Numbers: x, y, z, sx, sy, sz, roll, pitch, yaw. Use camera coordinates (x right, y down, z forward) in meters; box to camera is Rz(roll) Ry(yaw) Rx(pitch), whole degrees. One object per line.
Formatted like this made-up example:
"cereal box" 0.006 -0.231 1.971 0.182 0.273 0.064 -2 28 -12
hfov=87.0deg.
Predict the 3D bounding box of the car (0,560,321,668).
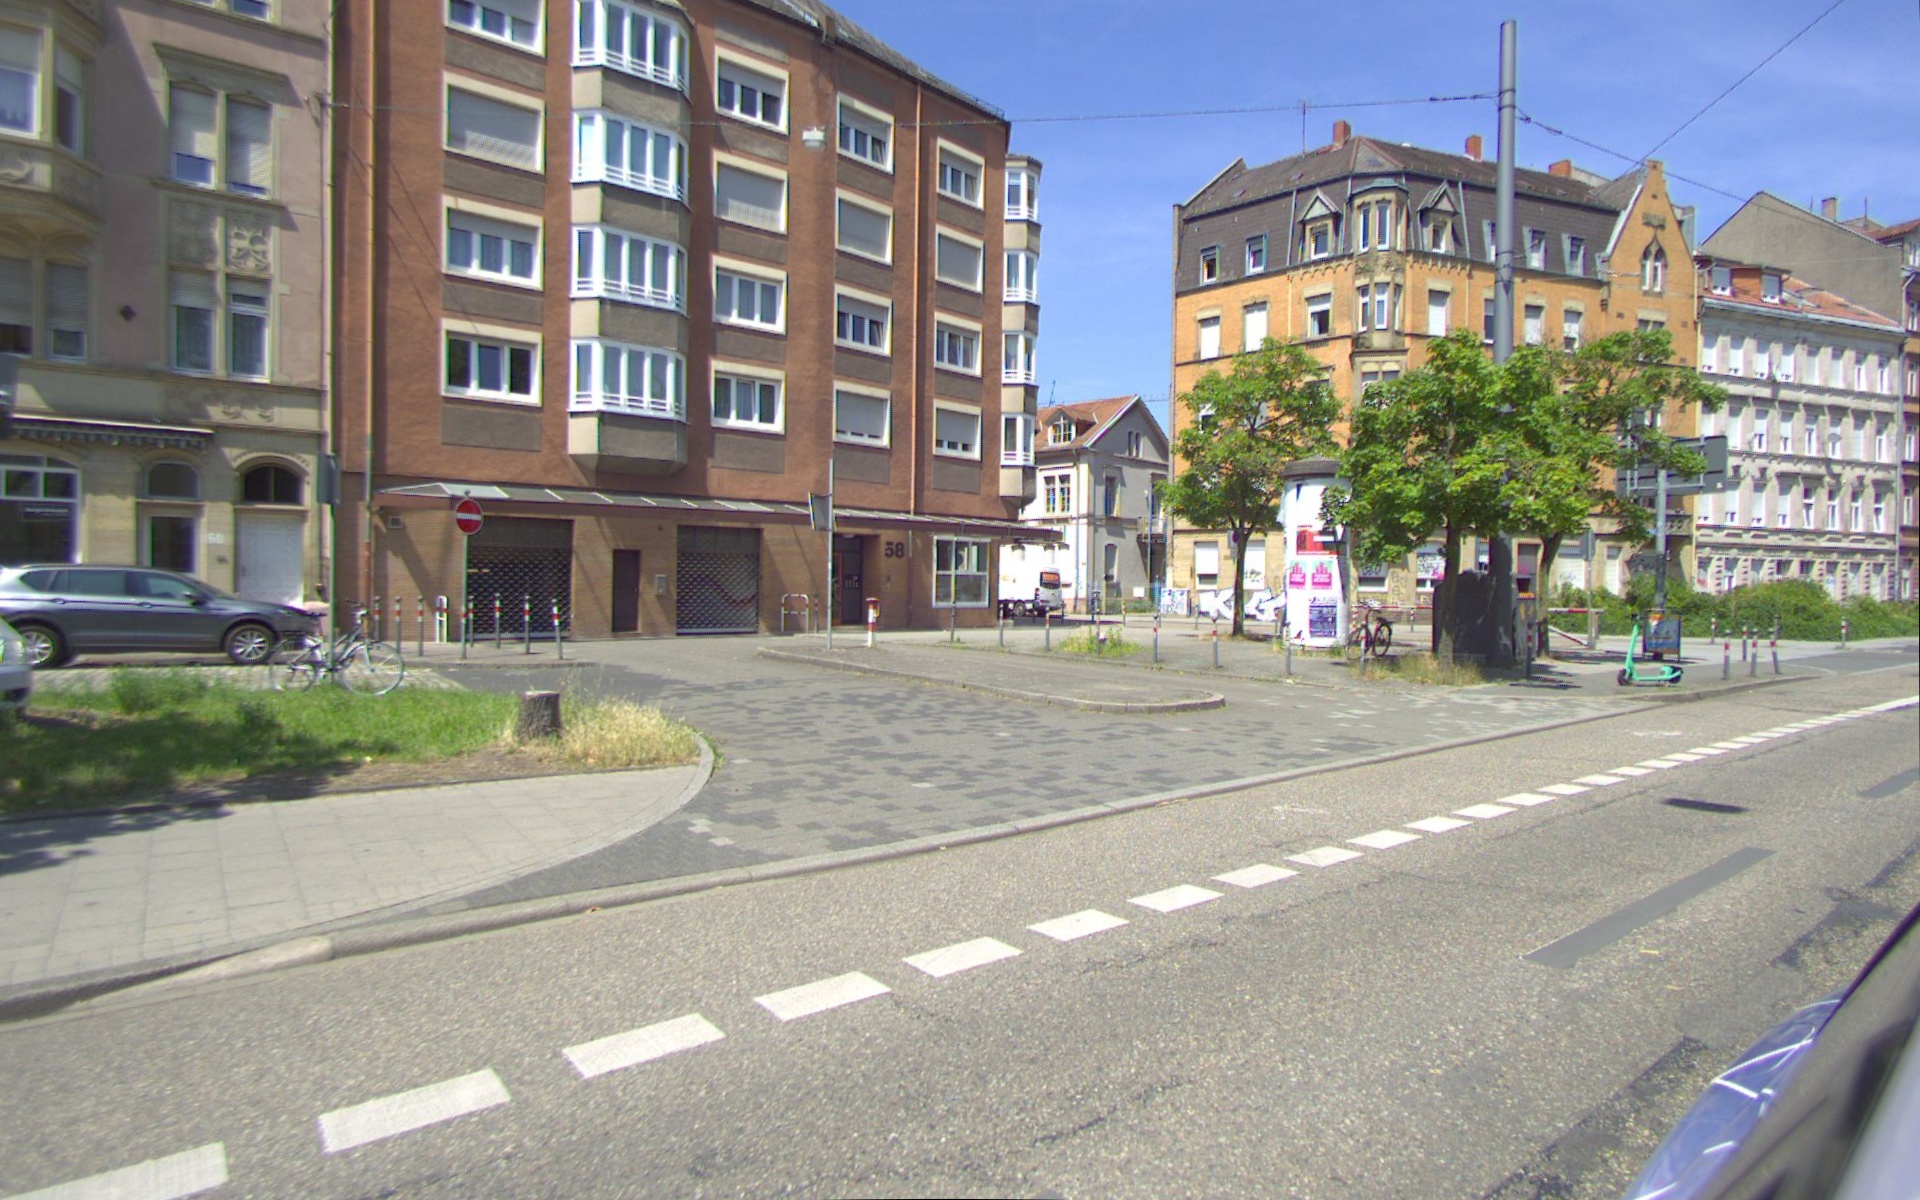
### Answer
"car" -13.437 0.191 17.016 4.509 1.620 2.001 -1 0 -32

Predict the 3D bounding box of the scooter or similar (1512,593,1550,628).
"scooter or similar" 20.301 0.375 35.978 1.458 1.220 0.491 0 0 -30

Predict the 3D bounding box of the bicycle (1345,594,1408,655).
"bicycle" 8.392 0.478 20.357 1.679 1.167 0.486 -1 0 -42

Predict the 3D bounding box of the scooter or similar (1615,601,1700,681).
"scooter or similar" 11.328 0.665 16.448 1.154 1.228 0.392 2 3 -15

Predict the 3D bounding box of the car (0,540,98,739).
"car" -10.039 0.339 9.236 4.374 1.652 1.979 0 0 30

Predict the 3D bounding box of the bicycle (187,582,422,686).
"bicycle" -7.943 0.395 12.355 2.312 1.208 0.742 0 0 -7

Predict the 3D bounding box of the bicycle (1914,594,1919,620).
"bicycle" 43.994 0.316 45.235 0.483 1.195 1.921 0 0 -34

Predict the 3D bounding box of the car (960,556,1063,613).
"car" 2.508 -0.735 50.329 1.967 2.655 5.206 0 0 -43
